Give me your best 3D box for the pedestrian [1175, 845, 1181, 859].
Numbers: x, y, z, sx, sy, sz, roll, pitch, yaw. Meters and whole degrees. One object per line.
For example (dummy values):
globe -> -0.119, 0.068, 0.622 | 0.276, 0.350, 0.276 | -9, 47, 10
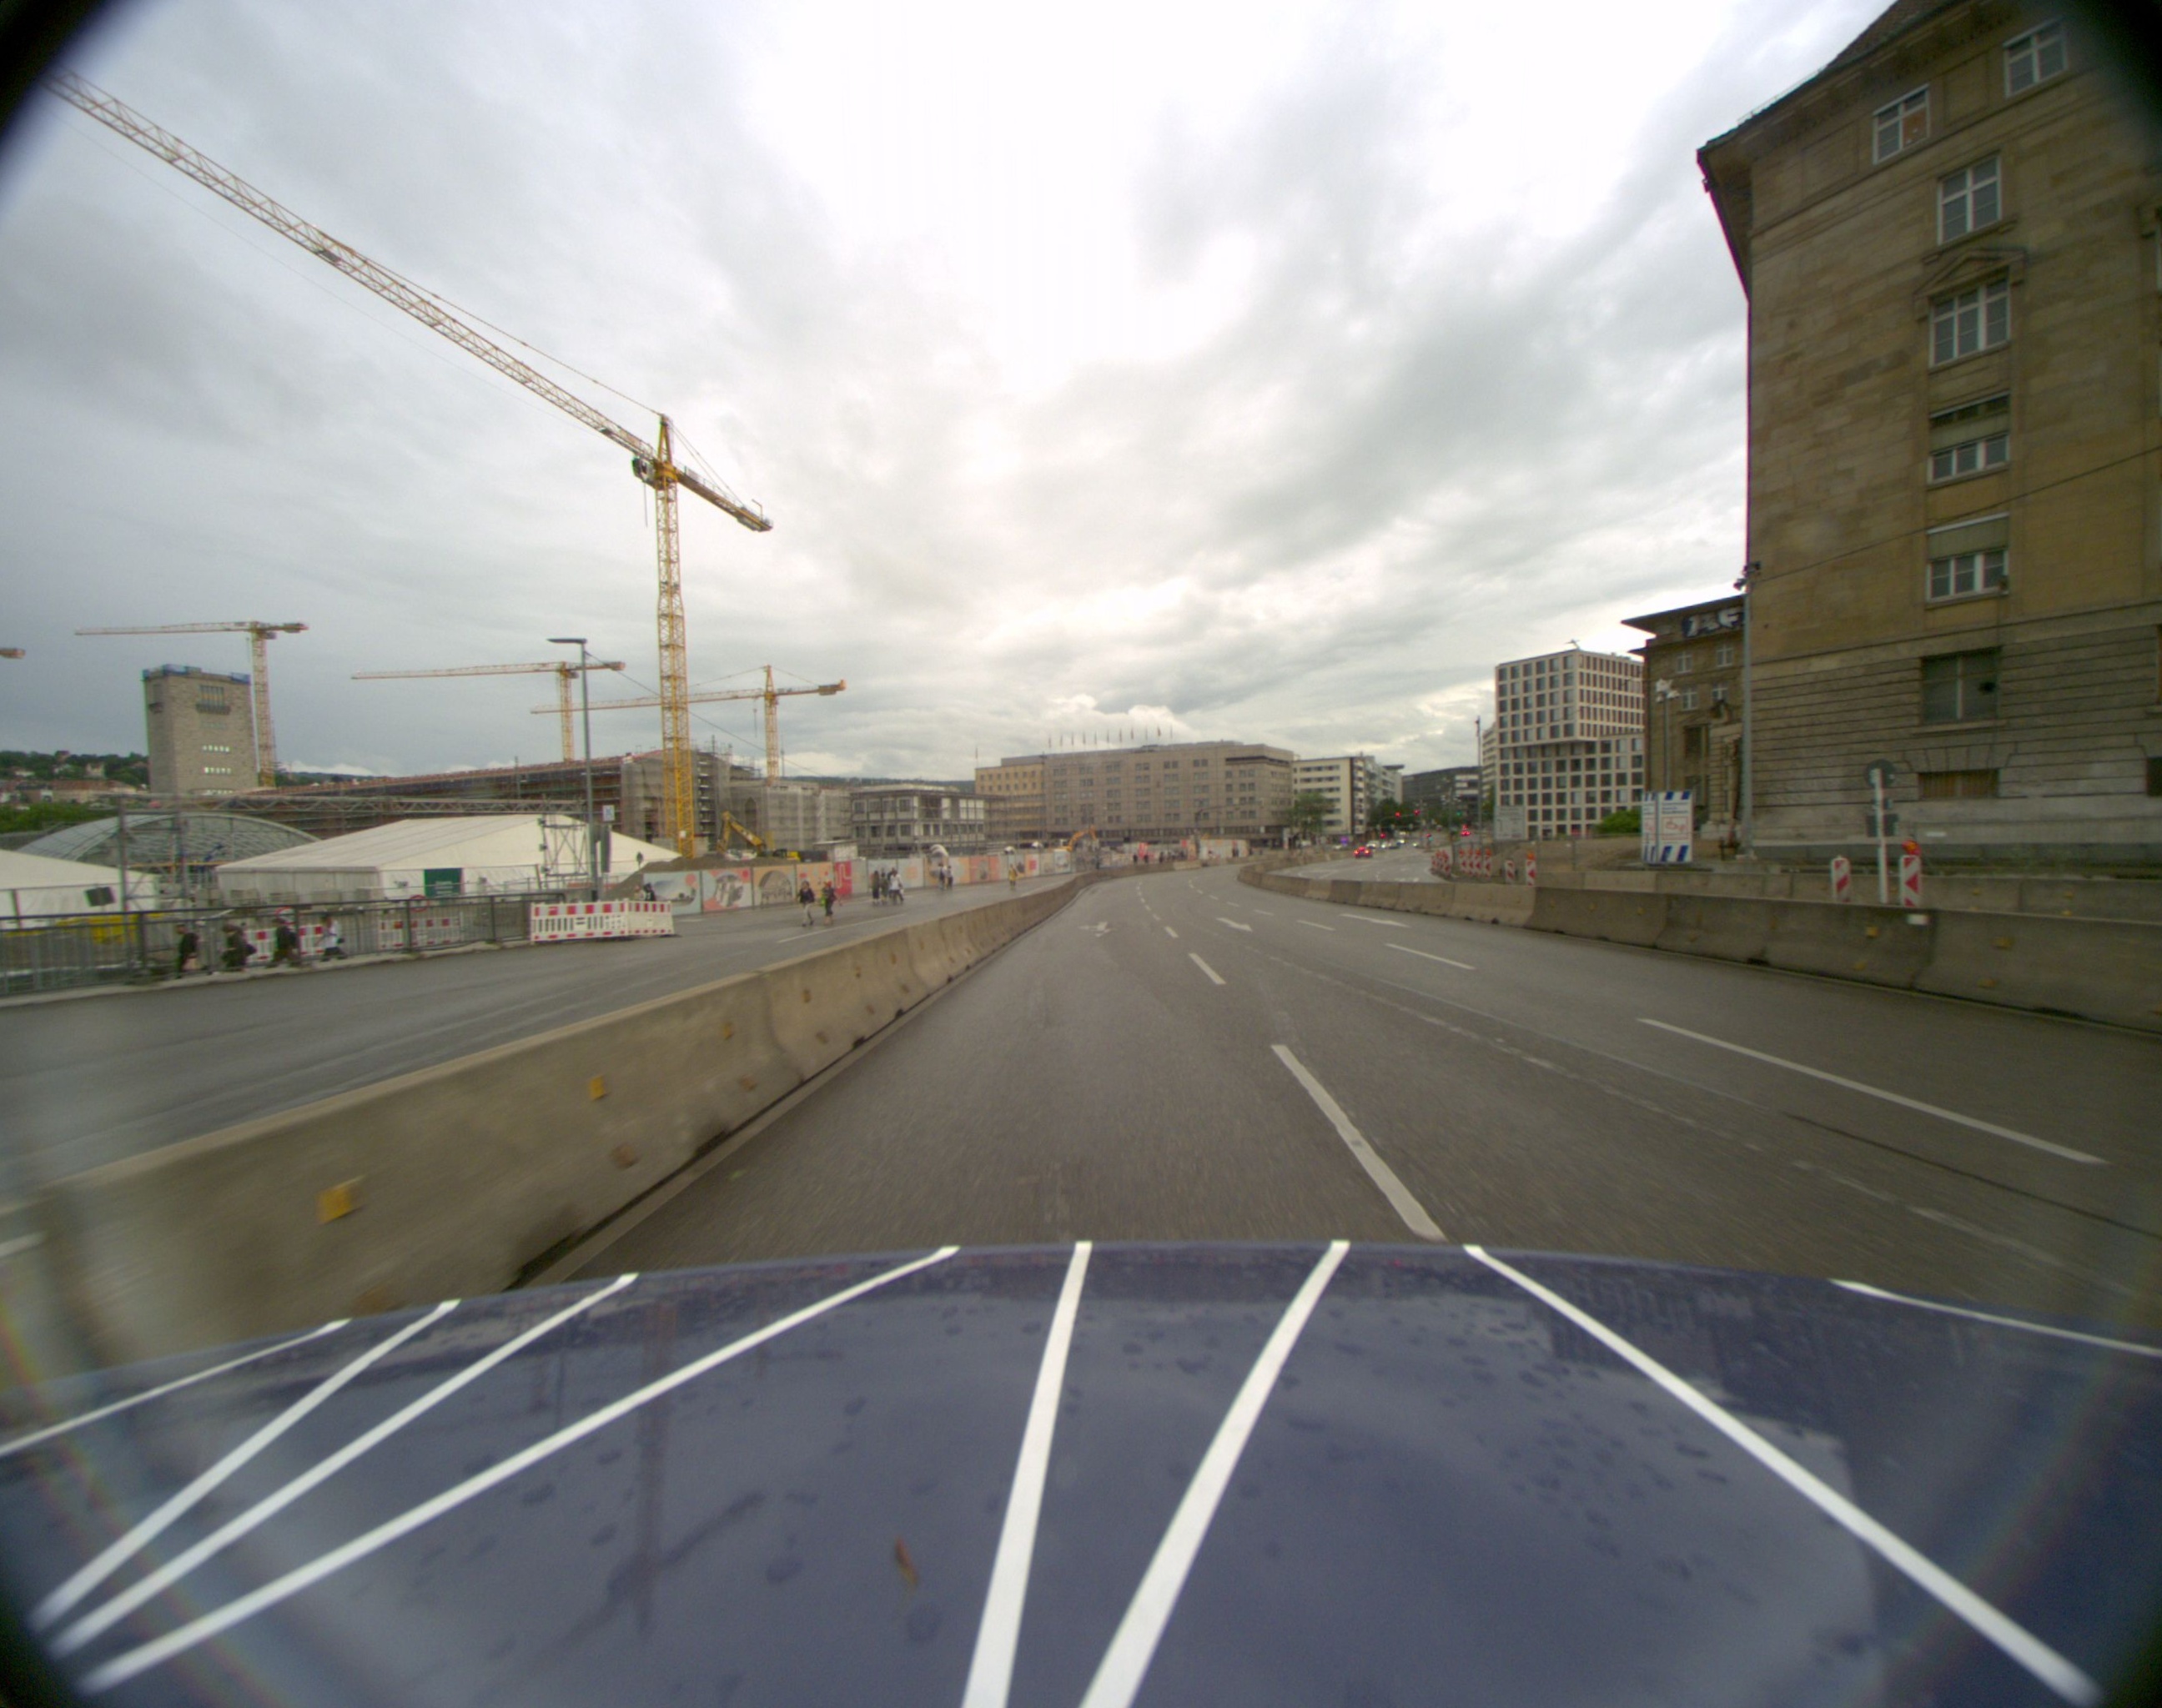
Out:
pedestrian -> 12.109, -0.232, 95.000 | 0.585, 1.699, 0.677 | 1, 2, 14

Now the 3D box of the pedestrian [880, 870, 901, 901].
pedestrian -> -9.766, 1.625, 39.026 | 0.609, 1.514, 0.886 | -1, 2, 22

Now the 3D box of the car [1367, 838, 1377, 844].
car -> 70.587, -3.208, 184.480 | 1.995, 1.445, 4.006 | -1, 1, 25

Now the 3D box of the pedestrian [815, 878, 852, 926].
pedestrian -> -8.343, 1.611, 25.642 | 0.732, 1.566, 0.806 | -2, 1, 30

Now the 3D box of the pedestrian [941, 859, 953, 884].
pedestrian -> -9.363, 1.242, 53.149 | 0.567, 1.738, 0.496 | -1, 2, 21

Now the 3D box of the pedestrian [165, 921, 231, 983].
pedestrian -> -24.537, 2.709, 21.129 | 0.866, 1.544, 1.010 | -1, 2, 32

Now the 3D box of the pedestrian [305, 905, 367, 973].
pedestrian -> -21.084, 2.377, 21.510 | 0.866, 1.771, 1.010 | -1, 2, 32

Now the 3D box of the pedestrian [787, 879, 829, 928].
pedestrian -> -9.261, 1.661, 25.764 | 0.861, 1.584, 0.954 | -1, 2, 30

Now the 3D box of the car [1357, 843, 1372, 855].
car -> 38.152, -0.726, 102.252 | 1.768, 1.512, 4.393 | -1, 1, 23

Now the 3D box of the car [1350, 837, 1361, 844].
car -> 66.821, -3.279, 184.924 | 1.995, 1.814, 4.006 | -1, 1, 25

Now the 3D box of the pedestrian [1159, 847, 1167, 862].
pedestrian -> 9.529, 0.067, 88.106 | 0.654, 1.681, 0.777 | 1, 2, 27

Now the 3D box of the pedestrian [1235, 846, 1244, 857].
pedestrian -> 25.214, -0.440, 121.003 | 1.097, 1.751, 0.908 | 1, 2, 30

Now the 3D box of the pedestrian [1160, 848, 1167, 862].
pedestrian -> 9.863, 0.152, 90.701 | 0.654, 1.681, 0.777 | 1, 2, 27

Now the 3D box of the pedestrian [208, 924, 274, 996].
pedestrian -> -20.961, 2.620, 18.973 | 0.724, 1.627, 0.918 | -1, 2, 32

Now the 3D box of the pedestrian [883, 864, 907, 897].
pedestrian -> -10.493, 1.506, 42.911 | 0.867, 1.807, 1.009 | -1, 2, 22

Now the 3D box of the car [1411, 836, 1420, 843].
car -> 80.234, -3.446, 182.106 | 1.788, 1.445, 3.677 | -1, 1, 25

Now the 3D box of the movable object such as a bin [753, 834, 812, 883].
movable object such as a bin -> -21.607, 0.279, 55.201 | 1.940, 3.390, 4.233 | -1, 1, 10

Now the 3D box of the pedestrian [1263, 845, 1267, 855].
pedestrian -> 31.312, -0.691, 129.554 | 0.653, 1.751, 0.549 | 1, 2, 14

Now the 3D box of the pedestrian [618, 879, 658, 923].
pedestrian -> -17.545, 1.844, 30.122 | 0.866, 1.680, 1.010 | -1, 2, 32

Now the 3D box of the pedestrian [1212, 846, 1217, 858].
pedestrian -> 18.912, -0.336, 107.726 | 0.648, 1.660, 0.766 | 1, 2, 14

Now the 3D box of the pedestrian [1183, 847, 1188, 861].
pedestrian -> 13.399, -0.047, 97.542 | 0.648, 1.751, 0.584 | 1, 2, 14

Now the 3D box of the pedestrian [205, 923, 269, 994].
pedestrian -> -21.554, 2.646, 19.410 | 0.698, 1.627, 0.918 | -1, 2, 32

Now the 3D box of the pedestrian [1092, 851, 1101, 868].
pedestrian -> 1.557, 0.578, 76.121 | 0.745, 1.696, 0.688 | 1, 2, 17

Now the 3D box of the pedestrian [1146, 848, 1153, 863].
pedestrian -> 7.623, 0.176, 84.460 | 0.648, 1.637, 0.948 | 1, 2, 17

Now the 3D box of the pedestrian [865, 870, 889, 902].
pedestrian -> -10.485, 1.635, 39.079 | 0.715, 1.544, 1.009 | -1, 2, 22

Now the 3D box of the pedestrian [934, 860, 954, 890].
pedestrian -> -8.653, 1.298, 48.005 | 0.818, 1.838, 0.933 | 0, 2, 39

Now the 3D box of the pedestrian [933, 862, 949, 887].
pedestrian -> -9.312, 1.363, 50.404 | 0.647, 1.646, 0.767 | 0, 2, 39

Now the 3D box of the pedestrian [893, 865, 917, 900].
pedestrian -> -9.023, 1.446, 38.958 | 0.778, 1.713, 0.892 | -1, 2, 22

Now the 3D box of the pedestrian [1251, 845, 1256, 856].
pedestrian -> 28.069, -0.615, 123.335 | 0.756, 1.751, 0.766 | 1, 2, 14

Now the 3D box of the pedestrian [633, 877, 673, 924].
pedestrian -> -16.670, 1.802, 29.608 | 0.866, 1.716, 1.010 | -1, 2, 32

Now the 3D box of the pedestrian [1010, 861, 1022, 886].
pedestrian -> -4.343, 1.282, 50.937 | 0.648, 1.623, 0.907 | -1, 2, 3

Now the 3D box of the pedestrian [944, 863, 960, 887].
pedestrian -> -8.502, 1.404, 50.124 | 0.647, 1.544, 0.767 | 0, 2, 39

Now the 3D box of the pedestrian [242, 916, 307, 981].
pedestrian -> -22.367, 2.583, 21.083 | 0.866, 1.627, 1.010 | -1, 2, 32

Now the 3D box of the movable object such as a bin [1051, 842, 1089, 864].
movable object such as a bin -> -1.307, -0.165, 90.541 | 4.135, 2.521, 1.995 | -2, 2, -32

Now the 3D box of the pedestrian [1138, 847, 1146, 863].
pedestrian -> 6.800, 0.135, 84.628 | 0.648, 1.733, 0.767 | 1, 2, 17

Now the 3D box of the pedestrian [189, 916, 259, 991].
pedestrian -> -22.261, 2.552, 19.746 | 0.771, 1.773, 1.010 | -1, 2, 32

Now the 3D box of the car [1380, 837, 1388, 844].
car -> 71.867, -3.180, 180.189 | 1.705, 1.445, 3.801 | -1, 1, 25
